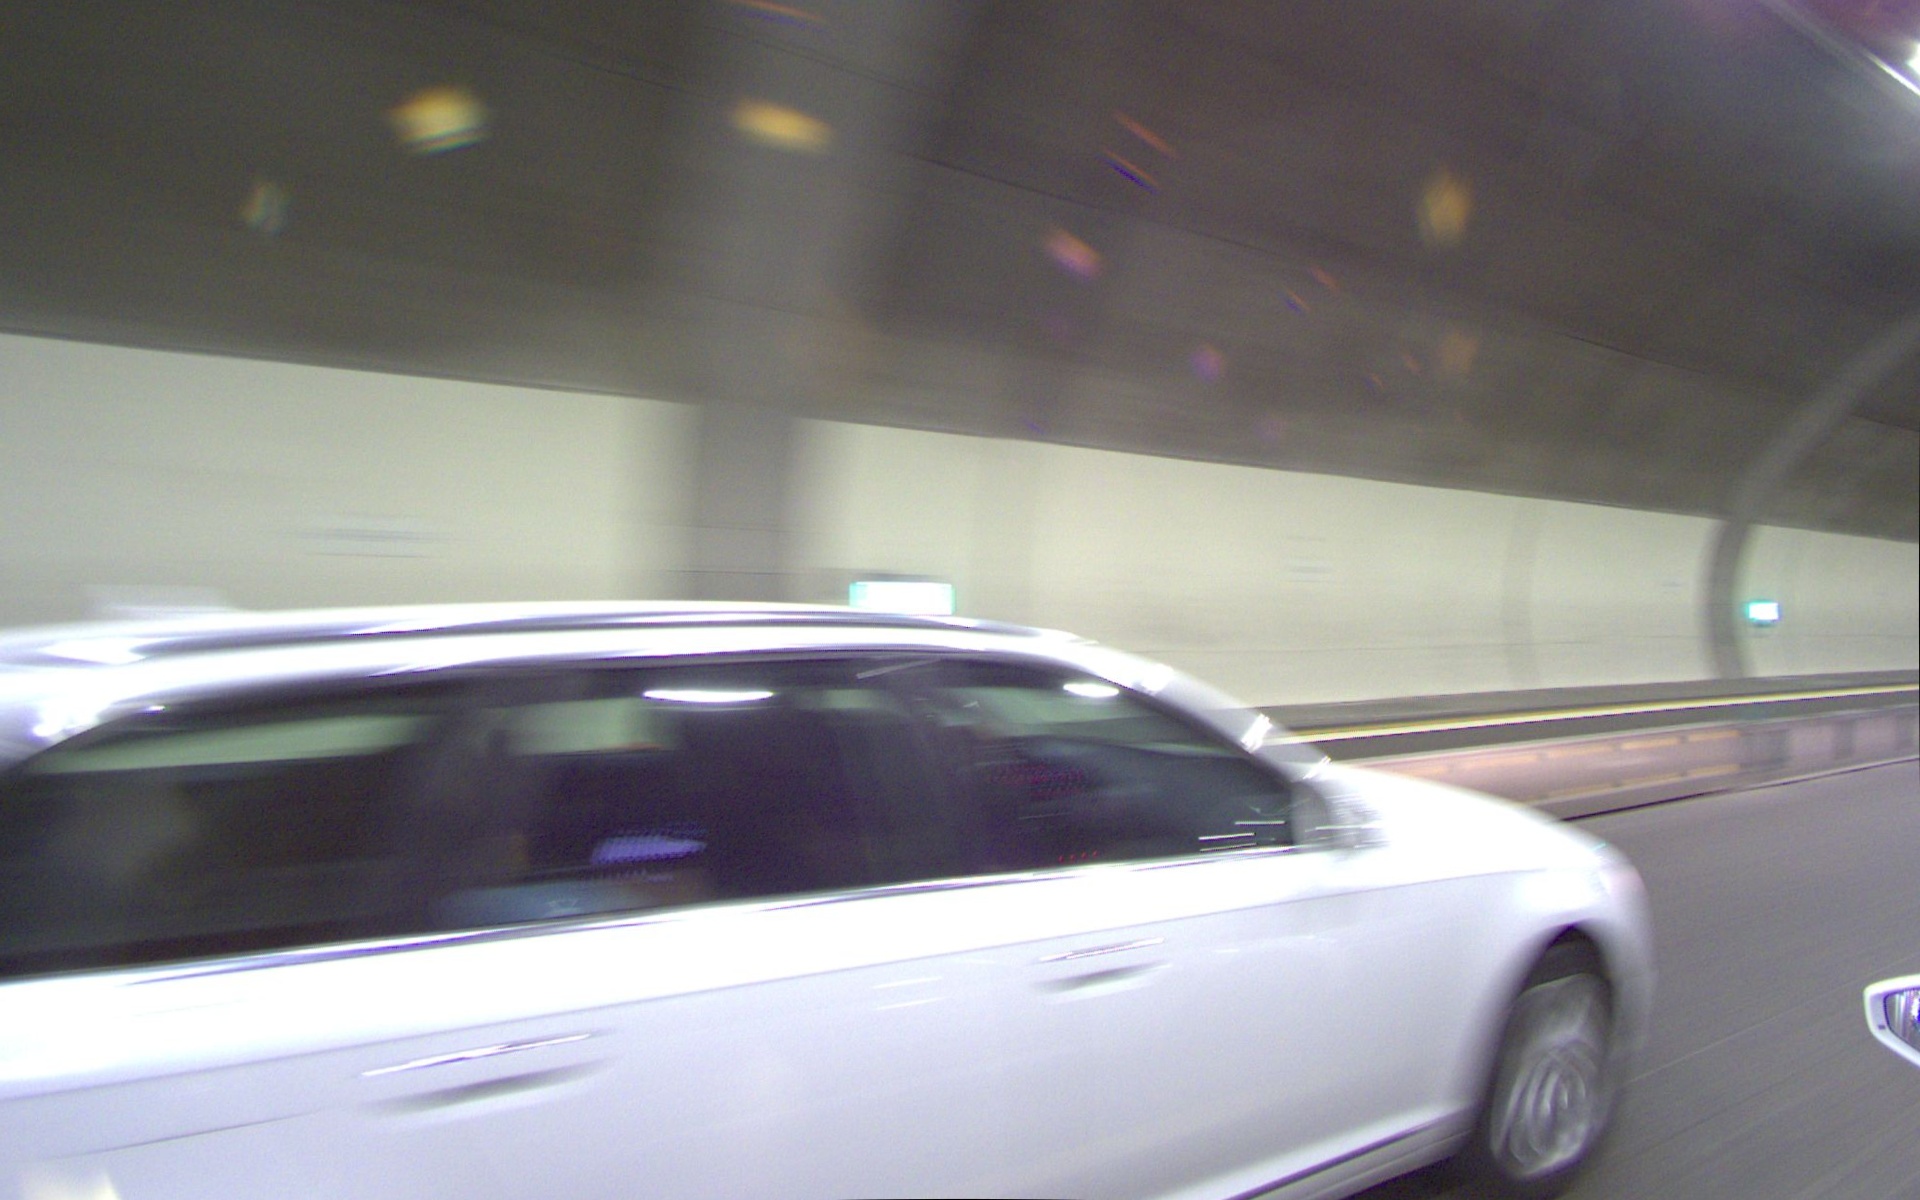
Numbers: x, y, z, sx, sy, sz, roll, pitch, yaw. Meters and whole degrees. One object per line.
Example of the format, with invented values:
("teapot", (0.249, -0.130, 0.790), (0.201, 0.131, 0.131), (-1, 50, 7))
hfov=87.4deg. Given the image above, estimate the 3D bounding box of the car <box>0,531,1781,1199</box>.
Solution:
("car", (-0.109, 0.736, 2.593), (4.886, 1.504, 1.894), (0, -3, -31))
